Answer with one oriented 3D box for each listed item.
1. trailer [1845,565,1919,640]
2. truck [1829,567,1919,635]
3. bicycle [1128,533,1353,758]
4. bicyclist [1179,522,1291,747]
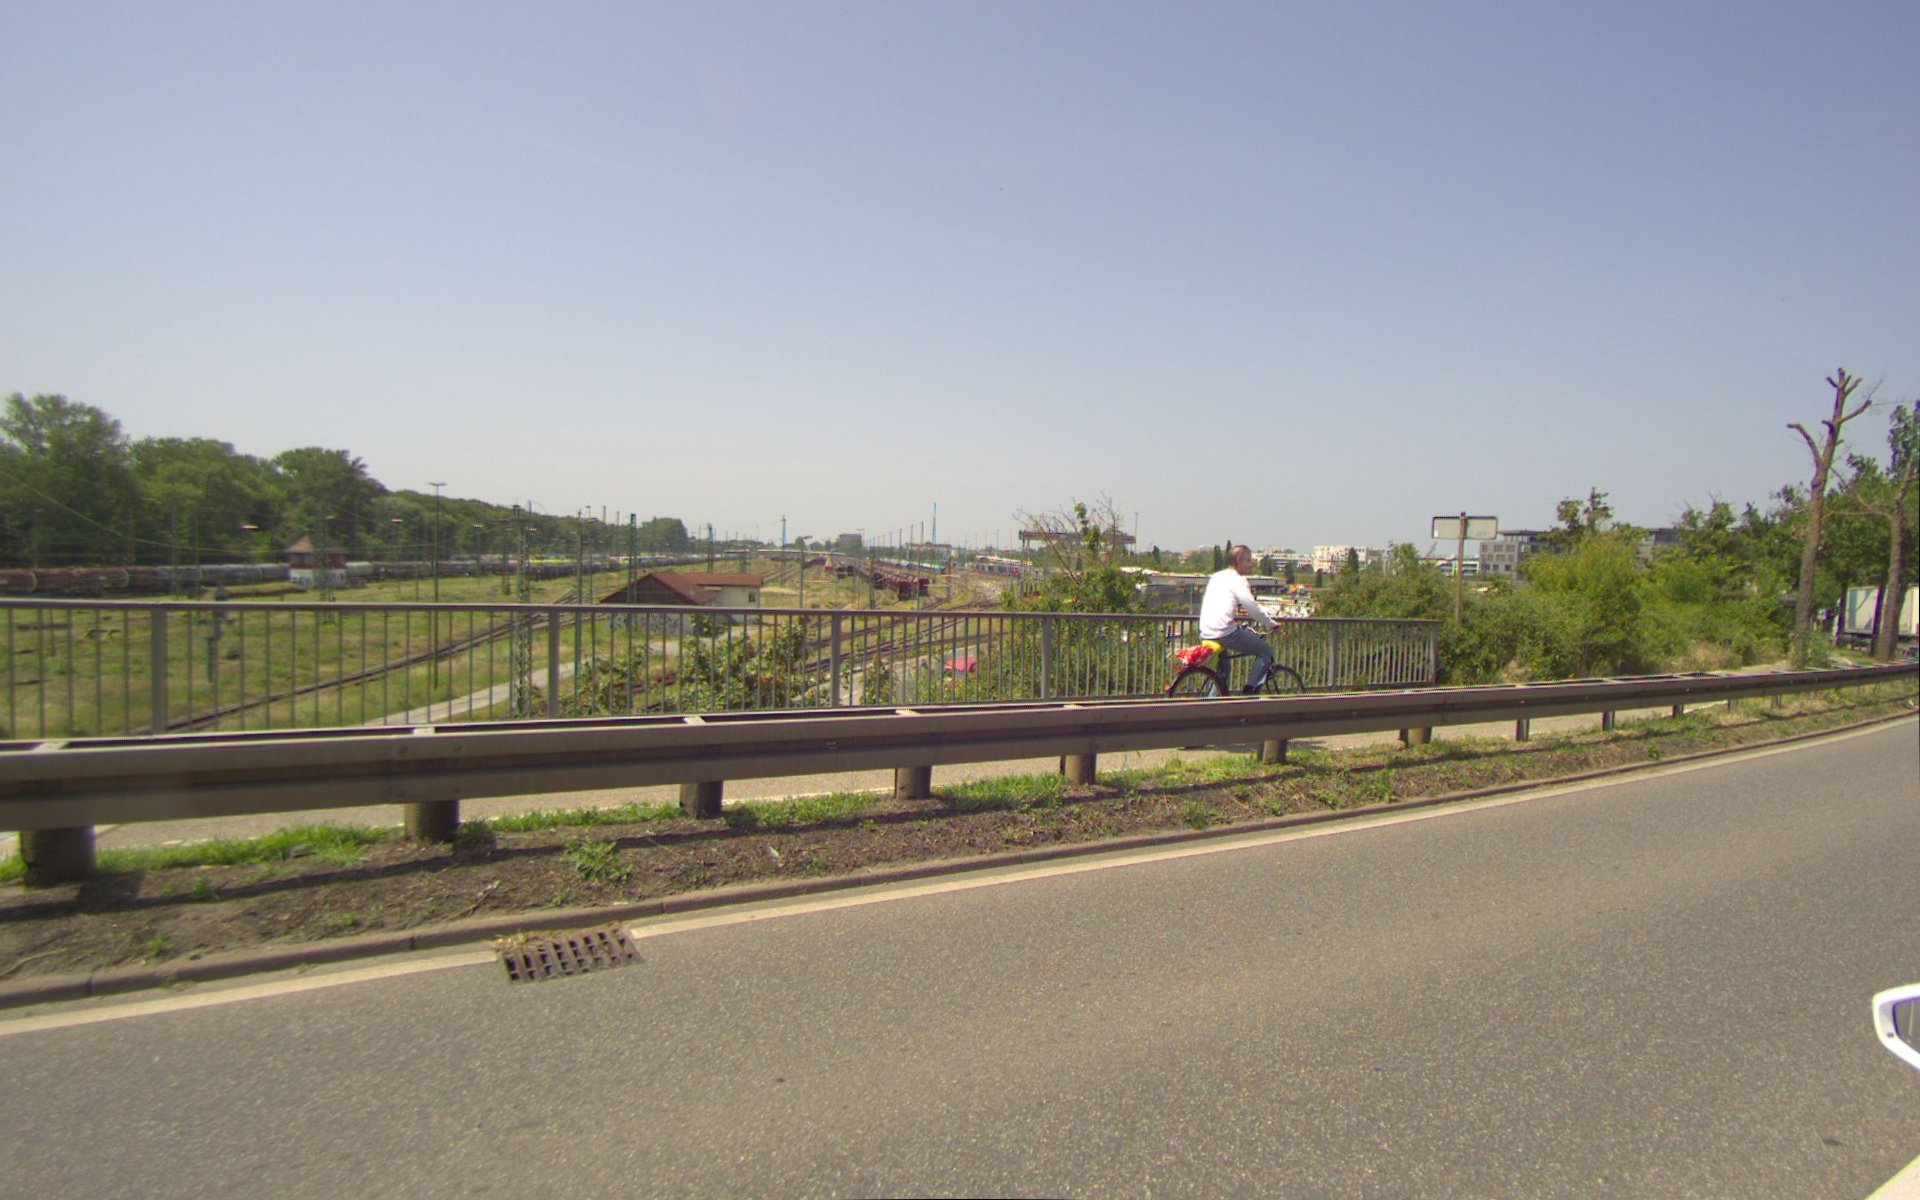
[{"bbox_3d":[60.318,0.076,64.130,3.518,4.443,11.414,2,2,31],"label":"trailer"},{"bbox_3d":[64.003,0.006,70.388,3.522,4.501,6.498,2,2,32],"label":"truck"},{"bbox_3d":[2.562,0.362,9.060,2.158,1.826,0.693,0,2,-34],"label":"bicycle"},{"bbox_3d":[2.458,0.286,8.985,0.705,1.911,0.620,0,2,-34],"label":"bicyclist"}]
